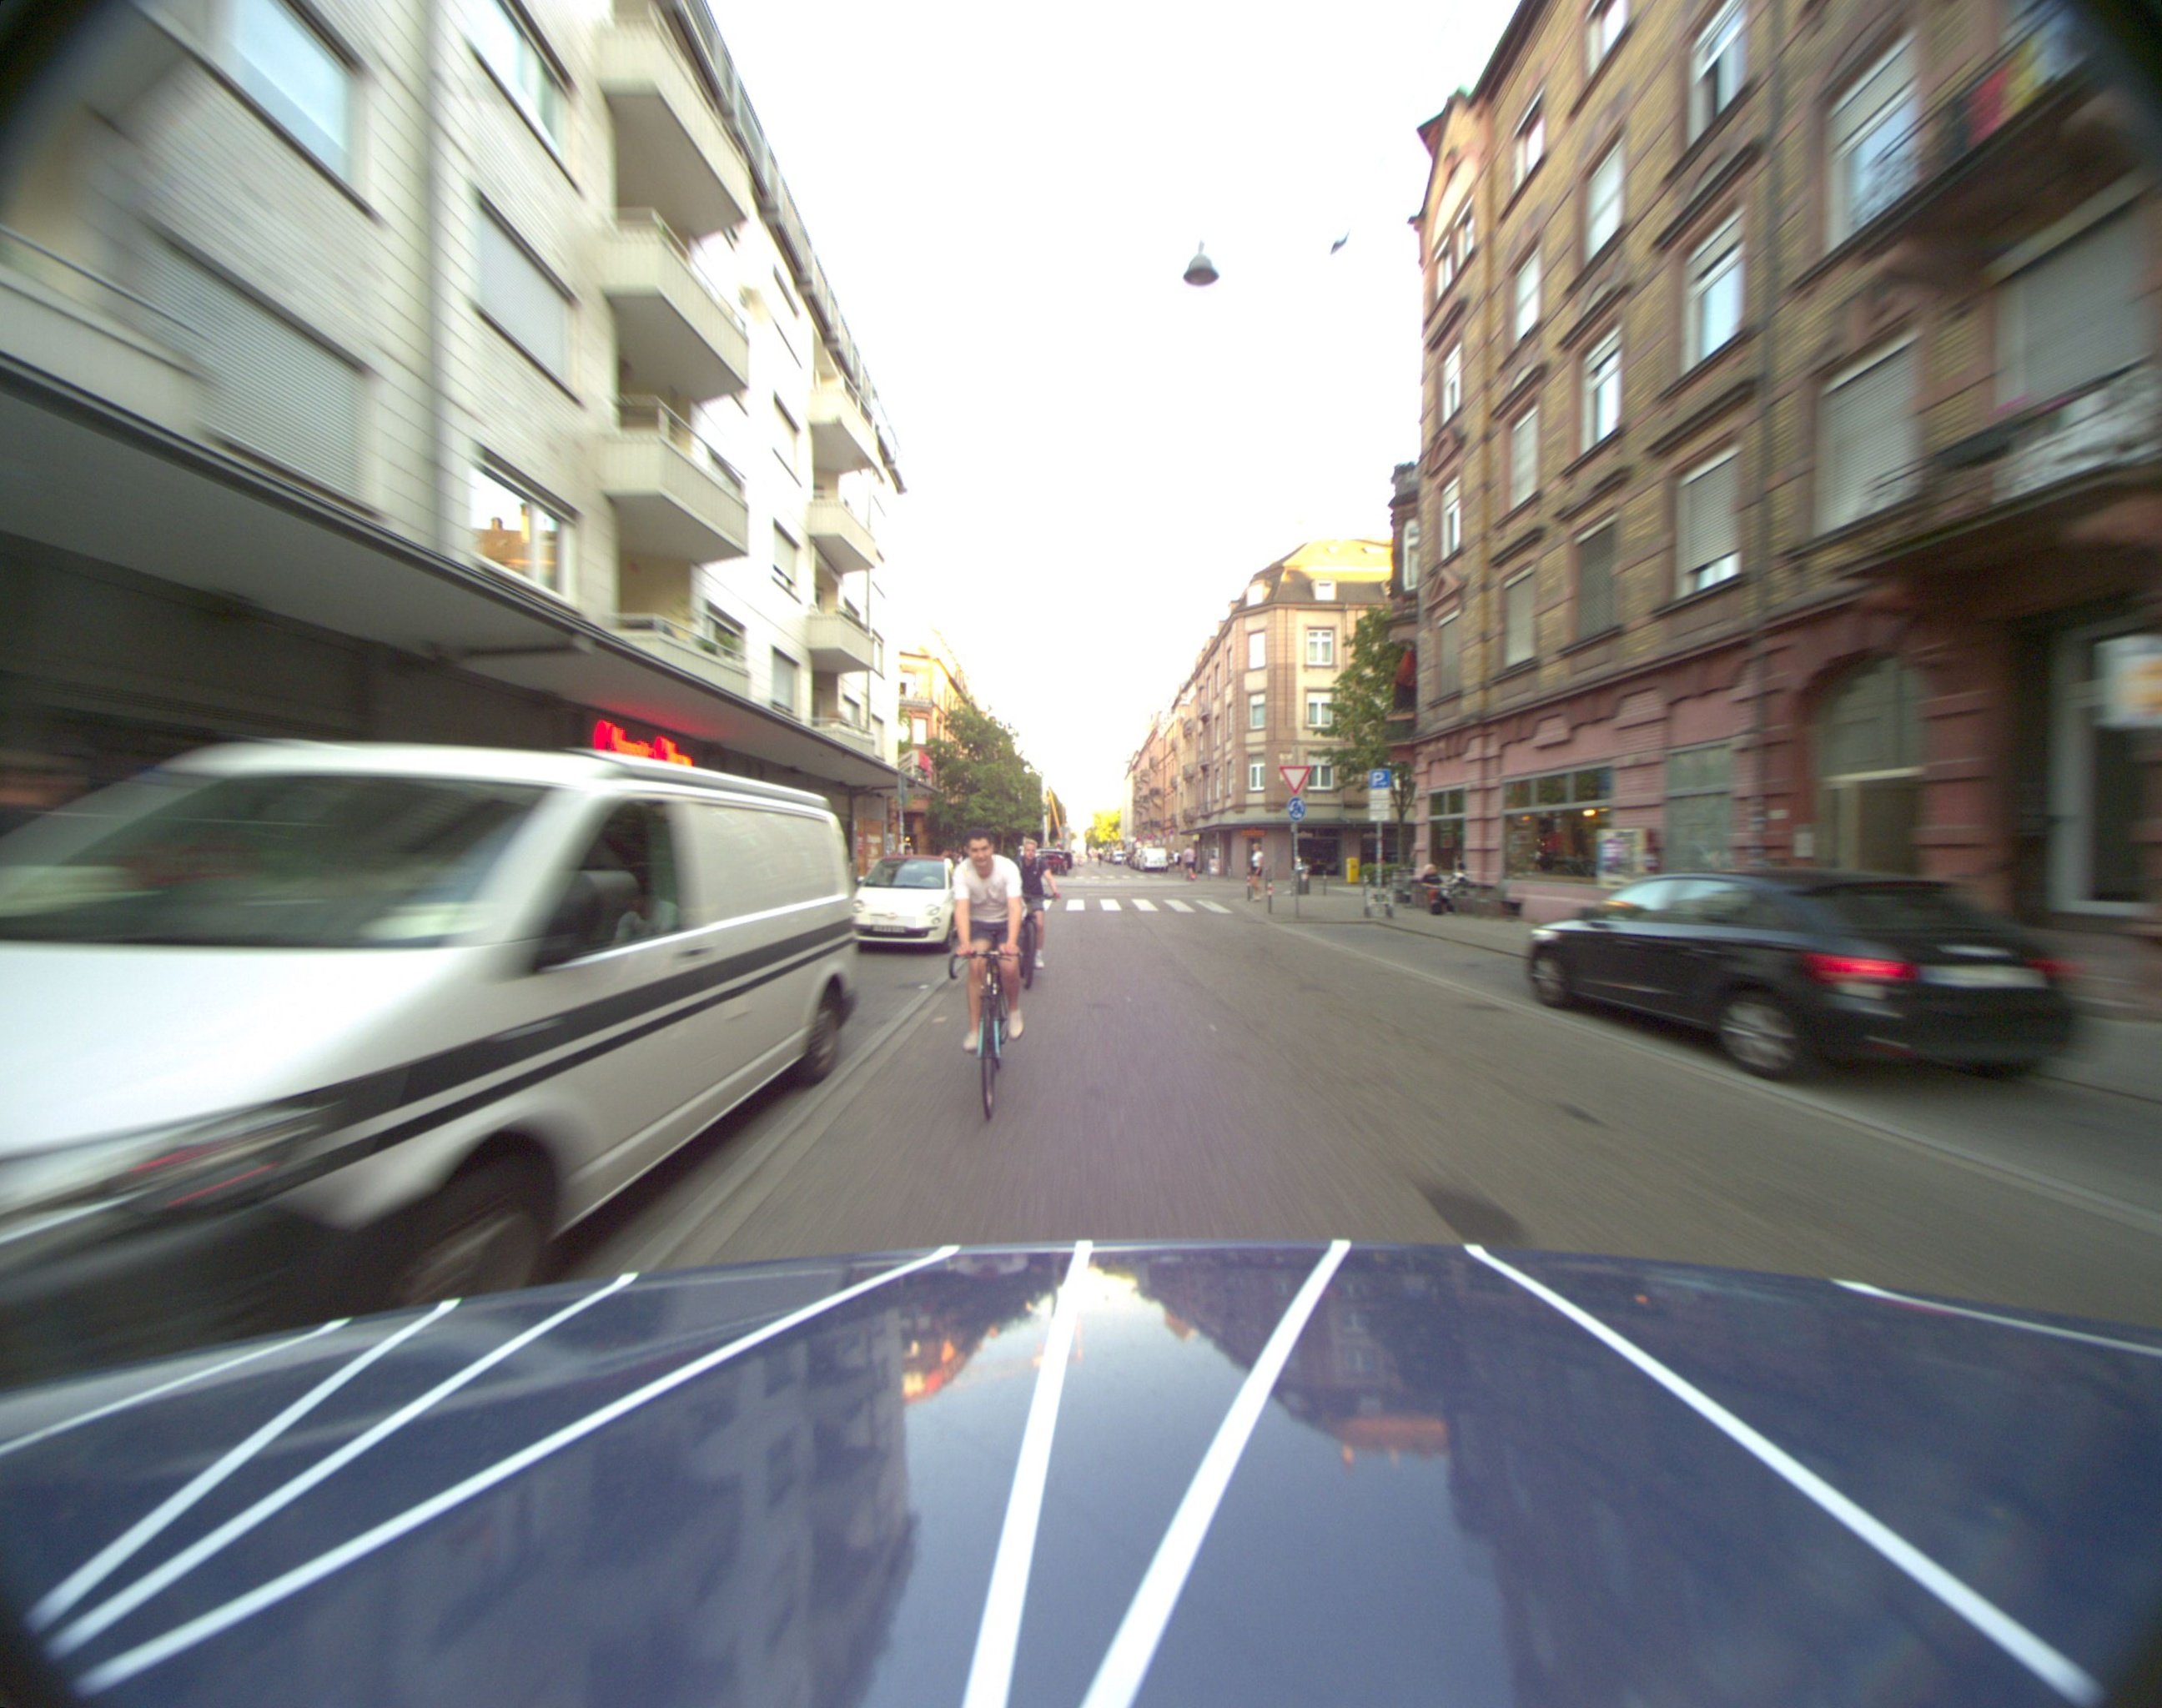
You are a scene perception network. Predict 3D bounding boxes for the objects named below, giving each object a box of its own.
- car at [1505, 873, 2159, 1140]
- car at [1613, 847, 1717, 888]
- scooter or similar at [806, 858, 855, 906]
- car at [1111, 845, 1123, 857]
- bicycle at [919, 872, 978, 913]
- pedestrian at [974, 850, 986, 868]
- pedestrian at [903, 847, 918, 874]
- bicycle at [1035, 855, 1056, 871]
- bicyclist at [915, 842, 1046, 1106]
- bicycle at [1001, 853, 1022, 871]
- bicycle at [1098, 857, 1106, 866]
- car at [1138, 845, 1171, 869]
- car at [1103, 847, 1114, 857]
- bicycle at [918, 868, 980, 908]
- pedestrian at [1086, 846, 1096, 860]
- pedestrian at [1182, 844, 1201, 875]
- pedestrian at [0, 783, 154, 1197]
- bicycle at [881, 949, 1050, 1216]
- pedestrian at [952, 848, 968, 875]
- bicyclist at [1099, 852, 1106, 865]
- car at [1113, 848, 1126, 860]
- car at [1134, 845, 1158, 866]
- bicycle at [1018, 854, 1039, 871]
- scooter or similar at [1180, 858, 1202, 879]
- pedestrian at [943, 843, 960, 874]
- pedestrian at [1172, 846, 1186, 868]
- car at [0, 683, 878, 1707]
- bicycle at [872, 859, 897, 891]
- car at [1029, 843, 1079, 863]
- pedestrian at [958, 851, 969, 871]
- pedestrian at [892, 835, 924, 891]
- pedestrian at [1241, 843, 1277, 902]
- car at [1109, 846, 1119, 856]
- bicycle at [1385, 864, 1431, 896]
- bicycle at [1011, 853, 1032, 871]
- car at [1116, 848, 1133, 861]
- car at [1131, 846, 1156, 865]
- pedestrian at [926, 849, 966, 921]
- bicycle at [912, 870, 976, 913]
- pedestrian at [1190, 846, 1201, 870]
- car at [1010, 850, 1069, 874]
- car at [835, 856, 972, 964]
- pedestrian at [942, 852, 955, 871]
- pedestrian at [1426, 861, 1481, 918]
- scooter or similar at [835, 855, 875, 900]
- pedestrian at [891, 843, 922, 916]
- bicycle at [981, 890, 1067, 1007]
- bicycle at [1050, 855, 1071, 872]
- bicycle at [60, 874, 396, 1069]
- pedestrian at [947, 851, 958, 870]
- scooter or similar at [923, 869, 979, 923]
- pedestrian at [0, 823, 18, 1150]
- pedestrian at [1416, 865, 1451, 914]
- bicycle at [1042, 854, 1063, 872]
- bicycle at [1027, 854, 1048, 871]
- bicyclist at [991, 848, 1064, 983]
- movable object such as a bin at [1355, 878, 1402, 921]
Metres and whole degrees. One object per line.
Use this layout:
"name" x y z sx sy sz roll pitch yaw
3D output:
"car" 5.359 0.925 6.277 1.697 1.412 3.855 -1 0 3
"car" 29.054 0.606 37.974 1.999 1.828 3.998 1 2 0
"scooter or similar" -6.504 0.709 19.774 0.536 1.196 1.166 1 0 26
"car" 5.882 -0.493 123.768 1.998 1.729 4.000 0 2 3
"bicycle" -3.437 0.989 19.756 1.421 0.978 0.510 2 2 -3
"pedestrian" -7.227 0.348 54.375 0.722 1.297 0.750 0 1 -20
"pedestrian" -10.836 0.408 48.272 0.673 1.628 0.642 1 3 36
"bicycle" -2.546 0.637 54.593 0.667 1.125 2.110 2 0 -28
"bicyclist" -0.591 0.680 4.797 0.650 1.500 0.953 0 2 2
"bicycle" -4.896 0.548 53.280 0.667 1.158 2.110 2 0 -28
"bicycle" 2.660 0.917 94.773 0.754 1.124 1.975 0 0 -6
"car" 6.106 0.193 63.841 2.141 1.947 4.768 -1 1 -2
"car" 5.248 -0.382 144.636 1.908 1.729 3.849 0 2 3
"bicycle" -3.539 0.915 20.399 1.552 0.996 0.510 2 2 -3
"pedestrian" 1.750 -0.231 131.952 1.394 2.465 1.237 1 1 17
"pedestrian" 5.960 0.288 41.140 0.810 1.650 0.672 1 1 -11
"pedestrian" -5.077 0.585 3.425 0.710 1.818 0.860 2 2 -1
"bicycle" -0.600 1.232 4.653 0.658 1.012 1.917 0 2 2
"pedestrian" -7.171 0.436 45.029 0.537 1.597 0.870 1 0 26
"bicyclist" 2.654 0.566 94.771 0.754 1.630 1.200 0 0 -6
"car" 6.014 -0.071 118.755 1.998 1.729 4.000 0 2 3
"car" 5.956 0.092 69.849 1.879 1.893 4.326 0 1 1
"bicycle" -3.712 0.592 53.884 0.667 1.125 2.110 2 0 -28
"scooter or similar" 5.954 0.758 41.139 0.810 1.098 1.171 1 0 -11
"pedestrian" -8.006 0.264 47.052 0.673 1.858 0.911 0 2 14
"pedestrian" 7.698 0.250 59.657 0.747 1.733 1.215 0 1 25
"car" -2.644 0.681 3.569 1.964 1.962 5.002 2 0 0
"bicycle" -6.808 0.715 26.378 0.457 1.019 1.782 0 1 -1
"car" -3.014 -0.152 85.939 5.153 2.182 2.333 -1 2 -25
"pedestrian" -7.952 0.466 51.401 0.641 1.265 0.674 -1 2 -15
"pedestrian" -6.139 0.302 26.991 0.763 1.901 1.190 3 1 0
"pedestrian" 5.557 0.578 23.827 1.047 1.800 0.757 -1 -1 11
"car" 6.017 -0.569 138.862 1.868 1.729 3.799 0 2 3
"bicycle" 10.599 0.825 24.604 1.779 1.019 0.611 0 -1 -40
"bicycle" -4.235 0.566 53.595 0.667 1.158 2.110 2 0 -28
"car" 5.971 0.040 104.272 2.141 1.811 4.540 0 1 0
"car" 6.229 0.126 75.949 2.141 1.811 4.540 0 1 1
"pedestrian" -3.080 0.701 17.358 0.649 1.590 0.590 1 1 -40
"bicycle" -3.465 0.936 19.300 1.482 0.996 0.511 2 2 6
"pedestrian" 8.436 0.296 55.846 0.654 1.768 0.693 -1 0 18
"car" -3.127 0.557 57.357 4.006 1.658 1.823 -1 2 -31
"car" -2.839 0.831 12.808 1.597 1.492 3.422 2 1 -2
"pedestrian" -8.893 0.481 51.082 0.676 1.265 0.639 -2 2 -28
"pedestrian" 8.629 0.808 17.619 0.650 1.247 0.907 -3 1 -15
"scooter or similar" -6.583 0.676 22.191 0.479 1.211 1.624 1 2 7
"pedestrian" -4.012 0.579 17.501 0.562 1.622 0.726 2 0 -7
"bicycle" -0.629 1.060 9.264 0.794 1.133 2.343 -1 0 1
"bicycle" -1.494 0.668 54.940 0.667 1.162 2.110 2 0 -28
"bicycle" -6.429 0.810 5.905 0.913 1.189 1.709 2 1 -14
"pedestrian" -8.765 0.453 51.706 0.675 1.265 0.639 -1 2 -16
"scooter or similar" -2.919 0.939 17.122 0.535 1.164 1.166 1 -1 39
"pedestrian" -5.804 0.672 3.505 0.710 1.656 0.744 2 2 -1
"pedestrian" 8.624 0.849 18.611 0.504 1.137 0.791 0 2 1
"bicycle" -2.061 0.637 55.064 0.667 1.162 2.110 2 0 -28
"bicycle" -3.118 0.610 54.245 0.667 1.125 2.110 2 0 -28
"bicyclist" -0.635 0.718 9.266 0.794 1.562 0.826 -1 0 1
"movable object such as a bin" 6.836 1.032 17.506 0.763 0.910 0.729 -1 2 -4
